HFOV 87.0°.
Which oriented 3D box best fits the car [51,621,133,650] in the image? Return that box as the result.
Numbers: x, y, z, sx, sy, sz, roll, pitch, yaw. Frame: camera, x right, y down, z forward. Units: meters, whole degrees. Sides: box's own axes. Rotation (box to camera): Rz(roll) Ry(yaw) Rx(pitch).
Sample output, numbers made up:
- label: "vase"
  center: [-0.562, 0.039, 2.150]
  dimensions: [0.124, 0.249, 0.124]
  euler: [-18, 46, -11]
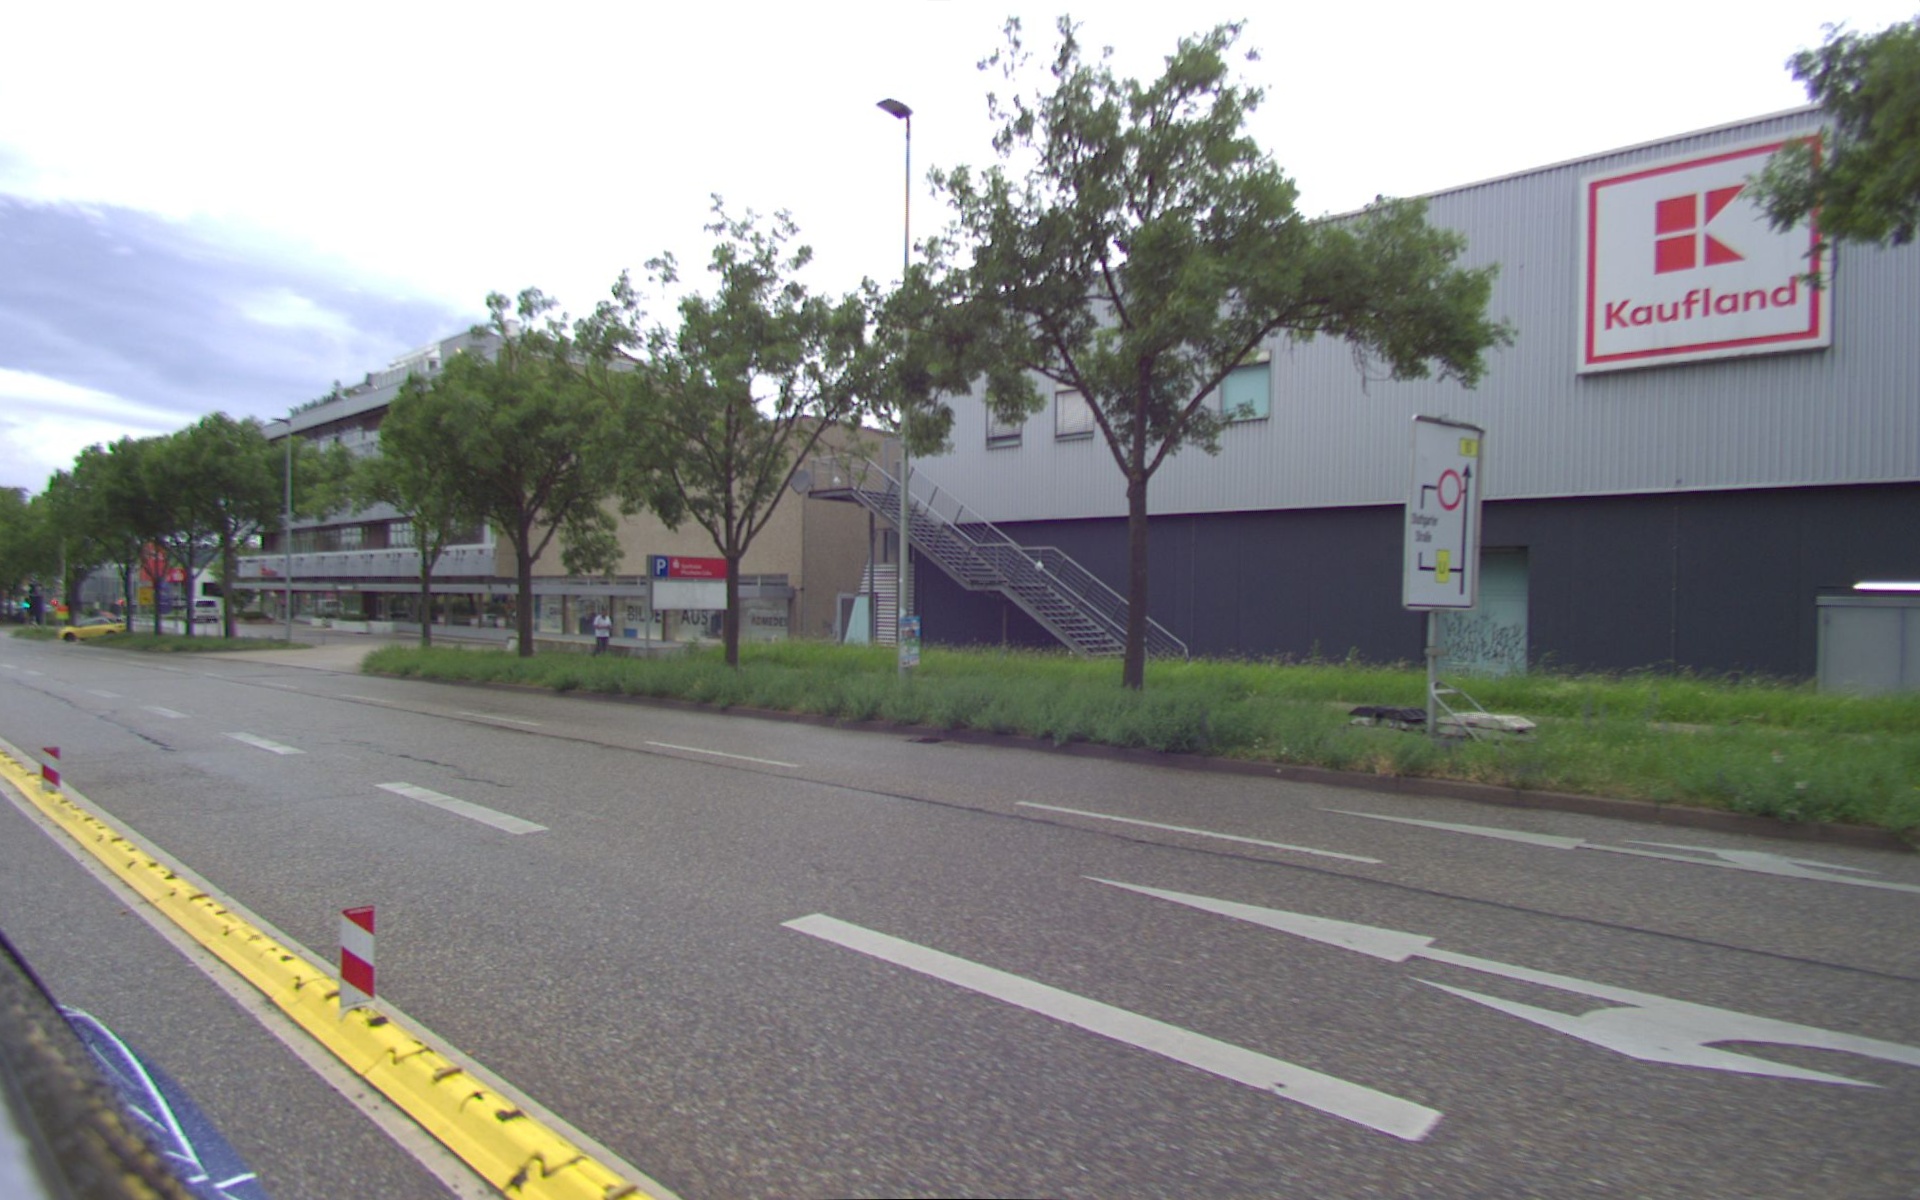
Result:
- label: "car"
  center: [-56.334, 2.307, 65.755]
  dimensions: [3.648, 1.520, 1.627]
  euler: [-3, 3, -16]

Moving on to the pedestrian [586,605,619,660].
- label: "pedestrian"
  center: [-10.663, 0.971, 30.186]
  dimensions: [0.767, 1.595, 0.578]
  euler: [-1, 1, 42]

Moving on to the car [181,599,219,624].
- label: "car"
  center: [-65.348, 0.977, 87.008]
  dimensions: [4.888, 2.029, 1.971]
  euler: [0, 0, 45]
